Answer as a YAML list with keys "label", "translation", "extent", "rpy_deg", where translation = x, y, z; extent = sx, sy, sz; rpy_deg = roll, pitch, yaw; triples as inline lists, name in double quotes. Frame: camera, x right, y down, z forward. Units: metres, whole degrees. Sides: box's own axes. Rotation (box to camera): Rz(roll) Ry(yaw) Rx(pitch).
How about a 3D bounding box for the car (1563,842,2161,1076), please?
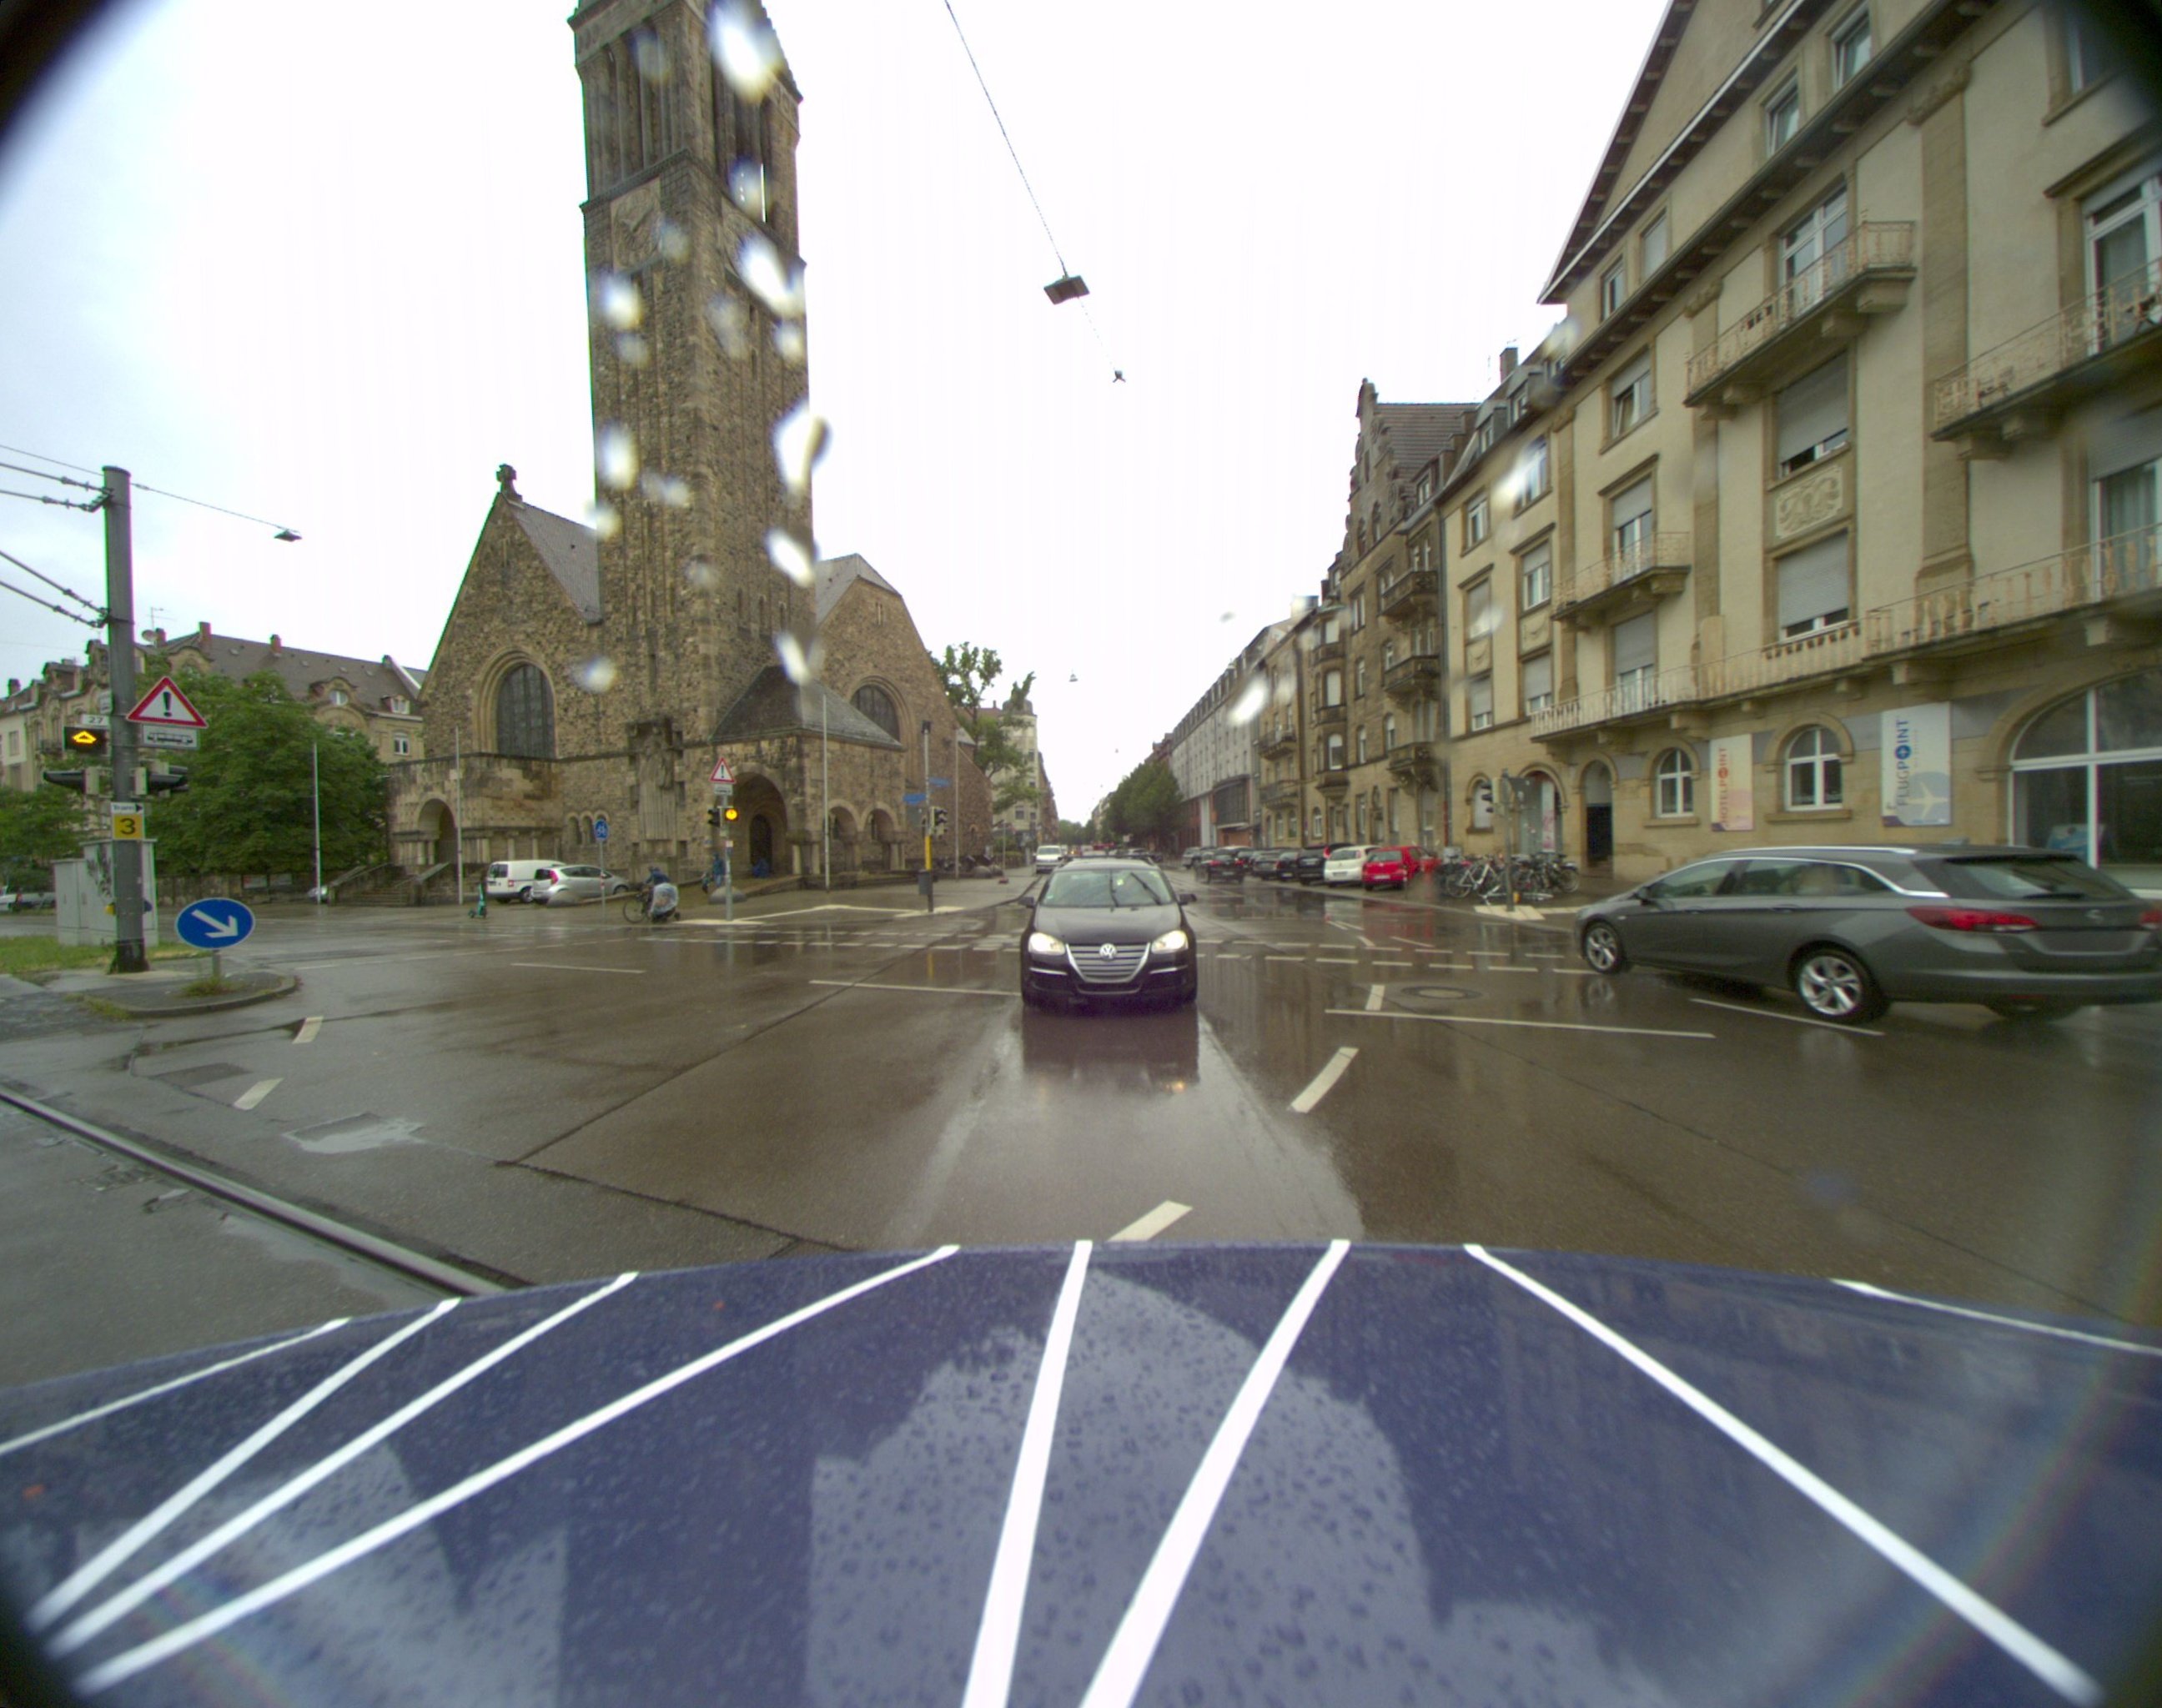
- label: "car"
  translation: [6.882, 0.674, 7.279]
  extent: [1.731, 1.538, 4.339]
  rpy_deg: [-1, 1, -1]

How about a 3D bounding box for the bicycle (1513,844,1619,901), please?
- label: "bicycle"
  translation: [12.296, 0.460, 19.293]
  extent: [2.347, 1.338, 0.640]
  rpy_deg: [-2, 1, -5]

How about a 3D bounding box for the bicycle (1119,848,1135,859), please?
- label: "bicycle"
  translation: [4.969, -0.054, 82.235]
  extent: [1.688, 1.067, 0.544]
  rpy_deg: [1, 1, -4]

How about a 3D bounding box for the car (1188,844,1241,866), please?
- label: "car"
  translation: [9.765, 0.033, 55.586]
  extent: [3.734, 1.519, 1.713]
  rpy_deg: [-2, 1, -36]

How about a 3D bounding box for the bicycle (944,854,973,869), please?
- label: "bicycle"
  translation: [-8.488, 0.518, 52.748]
  extent: [1.924, 1.054, 0.582]
  rpy_deg: [-1, 1, 21]

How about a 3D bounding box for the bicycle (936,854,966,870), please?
- label: "bicycle"
  translation: [-8.906, 0.548, 52.060]
  extent: [1.924, 1.054, 0.582]
  rpy_deg: [-1, 1, 21]

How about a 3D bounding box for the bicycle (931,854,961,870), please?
- label: "bicycle"
  translation: [-9.148, 0.548, 51.407]
  extent: [1.924, 1.054, 0.582]
  rpy_deg: [-1, 1, 19]

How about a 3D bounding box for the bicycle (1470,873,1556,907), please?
- label: "bicycle"
  translation: [10.423, 0.846, 18.370]
  extent: [1.044, 0.660, 1.475]
  rpy_deg: [-5, 2, -31]

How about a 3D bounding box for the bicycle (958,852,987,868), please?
- label: "bicycle"
  translation: [-7.765, 0.425, 54.362]
  extent: [1.978, 1.060, 0.607]
  rpy_deg: [-1, 1, 22]

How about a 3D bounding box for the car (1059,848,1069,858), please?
- label: "car"
  translation: [-2.238, -0.185, 100.139]
  extent: [1.356, 1.285, 3.012]
  rpy_deg: [-1, 1, 0]

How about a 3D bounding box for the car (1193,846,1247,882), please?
- label: "car"
  translation: [6.537, 0.427, 36.139]
  extent: [1.748, 1.538, 3.777]
  rpy_deg: [-1, 1, -2]

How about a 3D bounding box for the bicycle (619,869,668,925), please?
- label: "bicycle"
  translation: [-12.476, 1.206, 21.715]
  extent: [0.533, 1.458, 1.938]
  rpy_deg: [-2, 1, -10]

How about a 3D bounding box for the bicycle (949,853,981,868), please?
- label: "bicycle"
  translation: [-8.173, 0.453, 53.443]
  extent: [2.151, 1.054, 0.679]
  rpy_deg: [-1, 1, 21]

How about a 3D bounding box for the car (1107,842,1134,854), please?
- label: "car"
  translation: [6.095, -0.946, 118.322]
  extent: [3.803, 1.705, 1.904]
  rpy_deg: [-1, 1, -11]

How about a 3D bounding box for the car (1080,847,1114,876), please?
- label: "car"
  translation: [0.824, 0.373, 41.772]
  extent: [1.766, 1.430, 3.747]
  rpy_deg: [-1, 1, 0]

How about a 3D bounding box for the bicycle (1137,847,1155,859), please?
- label: "bicycle"
  translation: [6.595, -0.134, 77.544]
  extent: [1.688, 1.067, 0.544]
  rpy_deg: [-4, 2, -3]

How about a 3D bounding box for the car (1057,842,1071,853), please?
- label: "car"
  translation: [-2.406, -0.954, 107.519]
  extent: [1.921, 1.471, 4.220]
  rpy_deg: [-1, 1, -1]

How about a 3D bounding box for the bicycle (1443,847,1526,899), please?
- label: "bicycle"
  translation: [10.847, 0.507, 20.443]
  extent: [1.981, 1.322, 0.438]
  rpy_deg: [-2, 1, 2]

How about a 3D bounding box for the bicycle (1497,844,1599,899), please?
- label: "bicycle"
  translation: [12.245, 0.446, 19.926]
  extent: [2.347, 1.338, 0.640]
  rpy_deg: [-2, 1, -5]

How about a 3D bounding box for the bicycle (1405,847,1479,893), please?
- label: "bicycle"
  translation: [10.846, 0.481, 22.871]
  extent: [1.814, 1.178, 0.600]
  rpy_deg: [-6, 1, 5]

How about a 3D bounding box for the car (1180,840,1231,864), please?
- label: "car"
  translation: [9.639, -0.157, 58.662]
  extent: [3.930, 1.720, 1.811]
  rpy_deg: [-2, 2, -42]

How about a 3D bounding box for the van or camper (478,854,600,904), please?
- label: "van or camper"
  translation: [-23.625, 1.055, 33.308]
  extent: [1.645, 1.719, 3.933]
  rpy_deg: [-1, 5, 23]

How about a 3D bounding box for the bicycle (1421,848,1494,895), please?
- label: "bicycle"
  translation: [10.877, 0.503, 21.974]
  extent: [1.815, 1.178, 0.475]
  rpy_deg: [-6, 2, -2]

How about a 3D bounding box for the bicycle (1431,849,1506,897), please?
- label: "bicycle"
  translation: [10.926, 0.533, 21.432]
  extent: [1.815, 1.178, 0.468]
  rpy_deg: [-5, 2, -2]

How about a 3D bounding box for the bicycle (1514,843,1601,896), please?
- label: "bicycle"
  translation: [12.789, 0.413, 20.409]
  extent: [2.063, 1.338, 0.584]
  rpy_deg: [-2, 1, -6]

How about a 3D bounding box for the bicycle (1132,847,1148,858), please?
- label: "bicycle"
  translation: [6.310, -0.157, 81.304]
  extent: [1.688, 1.067, 0.544]
  rpy_deg: [-2, 1, -4]

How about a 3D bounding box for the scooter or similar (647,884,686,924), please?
- label: "scooter or similar"
  translation: [-11.610, 1.383, 21.303]
  extent: [0.514, 1.042, 0.924]
  rpy_deg: [-2, 1, 2]

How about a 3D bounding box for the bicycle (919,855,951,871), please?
- label: "bicycle"
  translation: [-9.691, 0.617, 50.453]
  extent: [2.005, 1.043, 0.577]
  rpy_deg: [-1, 1, 17]

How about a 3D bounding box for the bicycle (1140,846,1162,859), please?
- label: "bicycle"
  translation: [7.011, -0.180, 76.588]
  extent: [2.049, 1.165, 0.773]
  rpy_deg: [-4, 2, -3]

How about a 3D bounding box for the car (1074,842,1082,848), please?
- label: "car"
  translation: [-0.805, -2.618, 221.373]
  extent: [1.998, 1.705, 4.375]
  rpy_deg: [-1, 1, 3]

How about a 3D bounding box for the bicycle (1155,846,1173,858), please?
- label: "bicycle"
  translation: [8.450, -0.239, 77.559]
  extent: [1.688, 1.067, 0.544]
  rpy_deg: [-4, 2, -3]

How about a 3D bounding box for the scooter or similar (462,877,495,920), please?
- label: "scooter or similar"
  translation: [-19.930, 1.469, 25.127]
  extent: [1.101, 1.379, 0.287]
  rpy_deg: [-1, 1, 22]

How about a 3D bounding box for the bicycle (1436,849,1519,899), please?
- label: "bicycle"
  translation: [10.906, 0.532, 20.904]
  extent: [1.985, 1.178, 0.475]
  rpy_deg: [-5, 2, -3]
